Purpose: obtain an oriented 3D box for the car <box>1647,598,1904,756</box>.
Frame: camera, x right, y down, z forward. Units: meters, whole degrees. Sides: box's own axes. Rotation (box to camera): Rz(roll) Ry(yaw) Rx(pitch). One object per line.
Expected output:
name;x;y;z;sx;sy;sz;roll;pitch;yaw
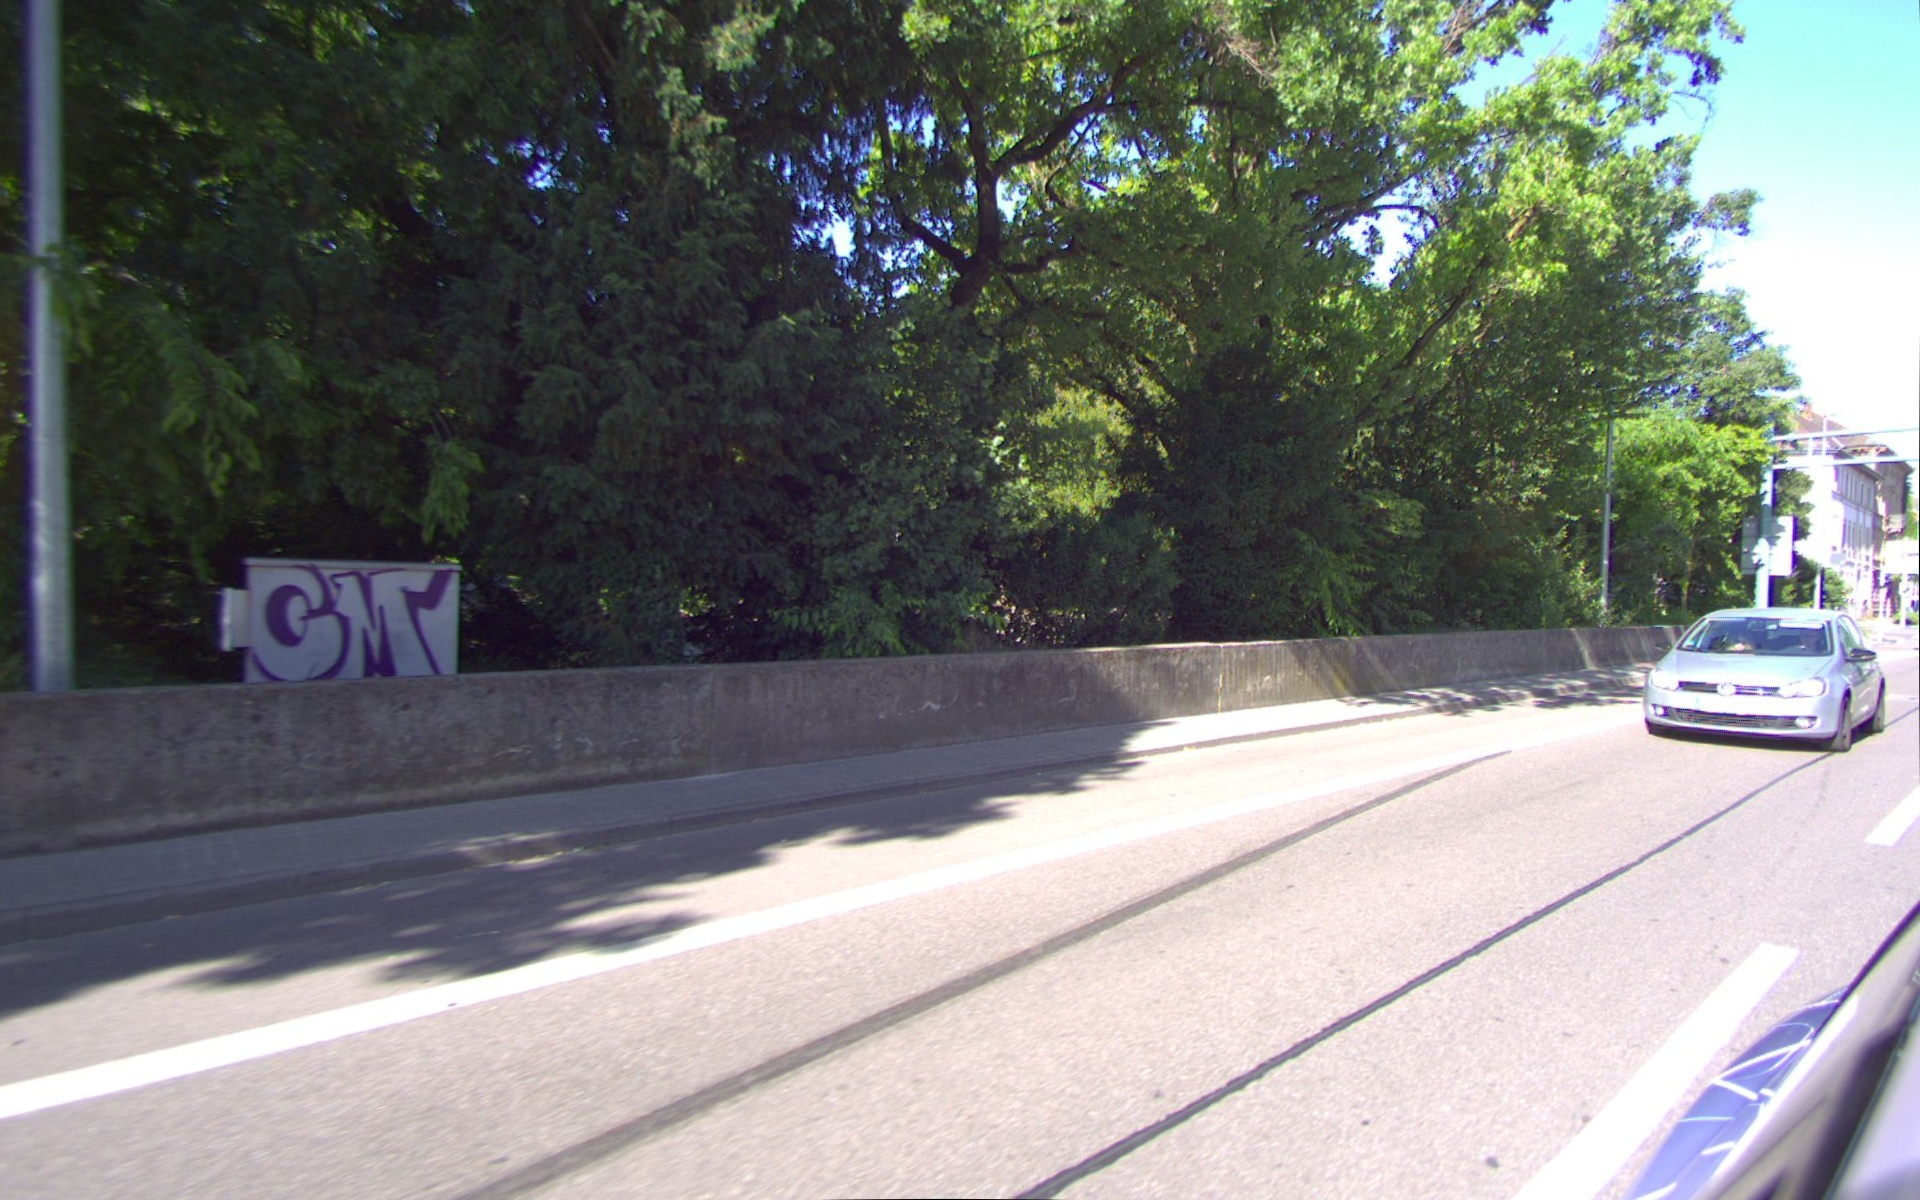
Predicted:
car;9.497;0.738;11.680;3.931;1.493;1.701;0;1;-42
